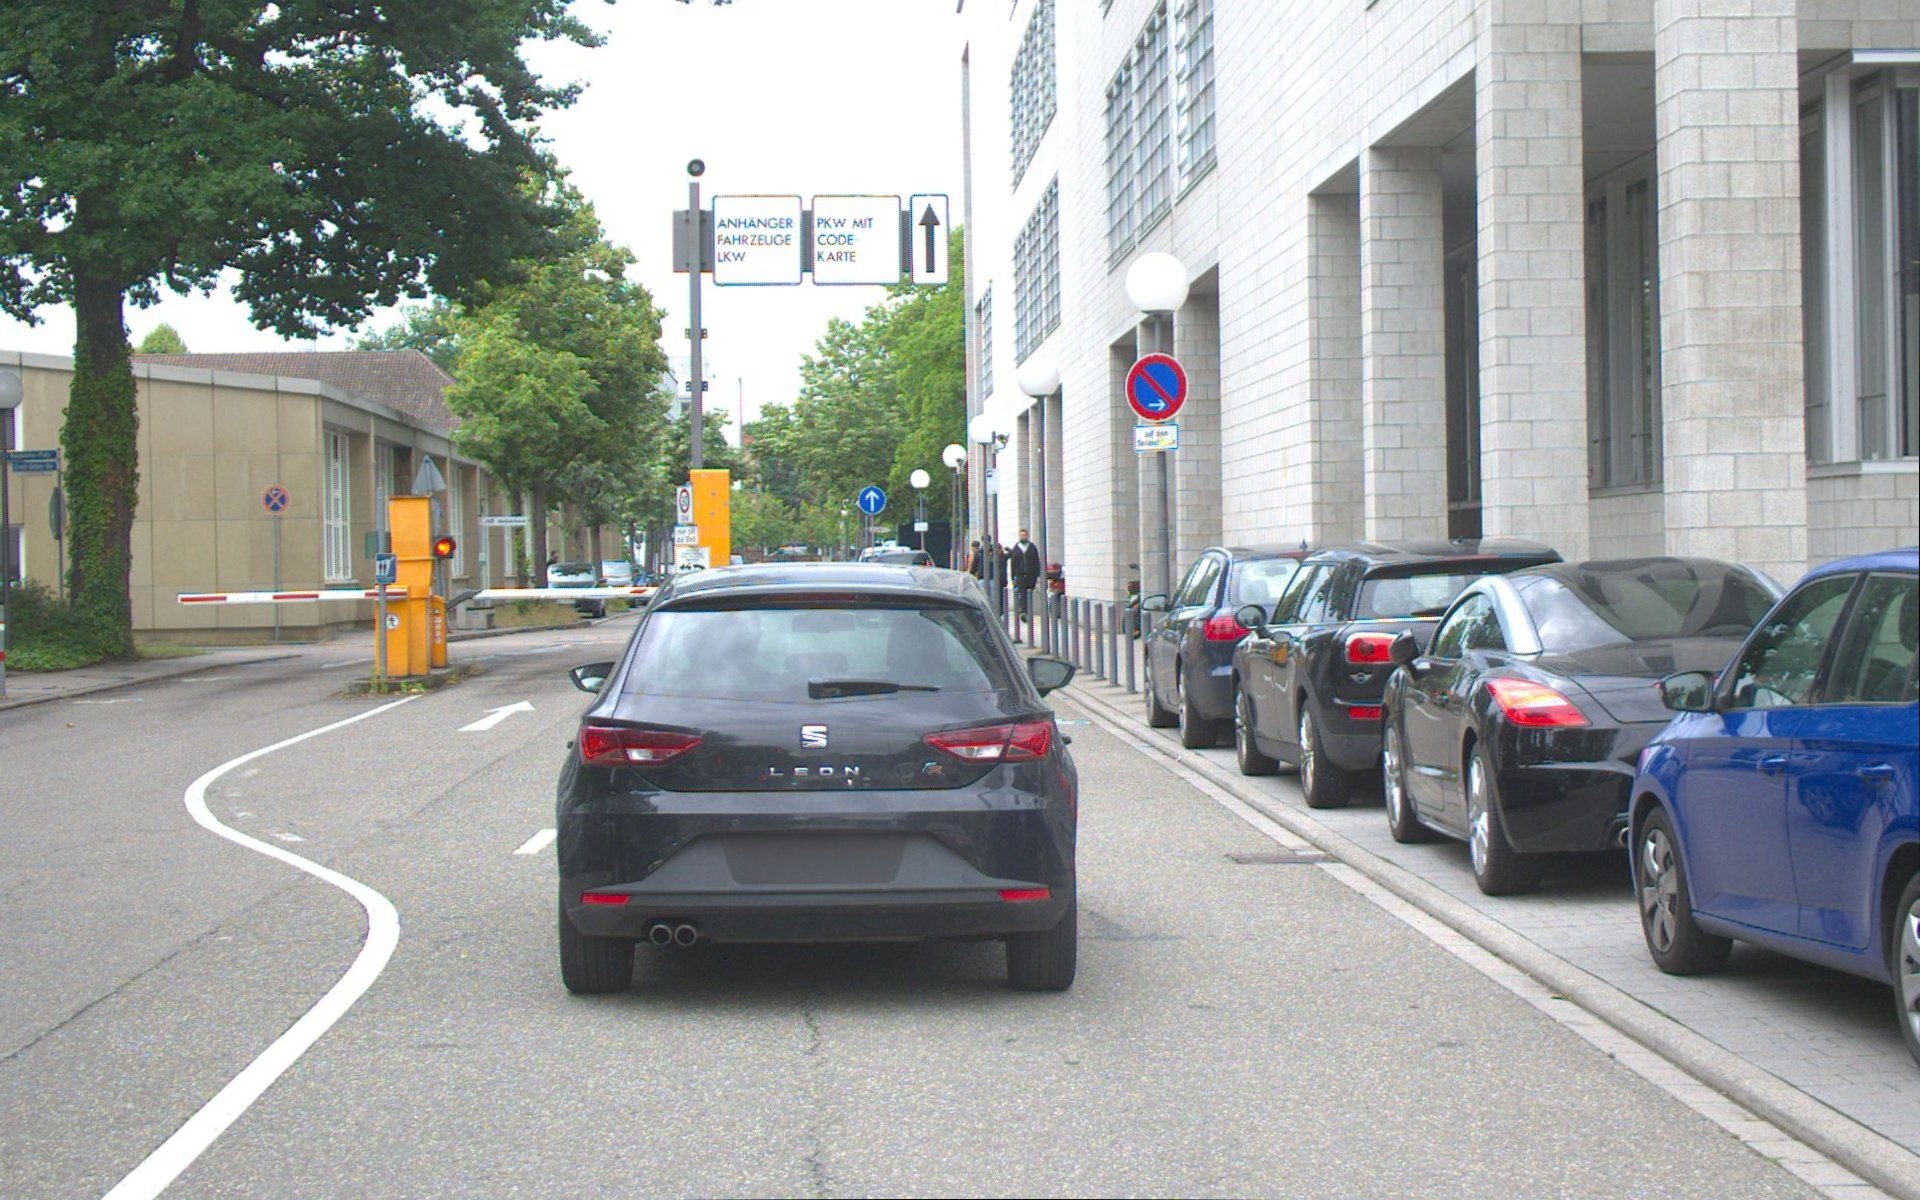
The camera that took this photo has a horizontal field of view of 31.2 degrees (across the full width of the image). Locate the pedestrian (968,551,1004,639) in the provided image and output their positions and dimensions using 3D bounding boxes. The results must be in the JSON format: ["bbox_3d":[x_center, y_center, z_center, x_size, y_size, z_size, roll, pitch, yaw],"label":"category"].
[{"bbox_3d":[0.511,-0.095,67.239,0.690,1.693,0.588,0,3,2],"label":"pedestrian"}]

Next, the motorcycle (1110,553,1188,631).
[{"bbox_3d":[3.063,-0.147,55.577,0.566,1.144,2.215,1,3,22],"label":"motorcycle"}]

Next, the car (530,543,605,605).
[{"bbox_3d":[-10.553,-0.716,92.616,1.770,1.595,4.001,-1,1,-3],"label":"car"}]

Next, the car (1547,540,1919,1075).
[{"bbox_3d":[3.231,0.516,10.548,1.695,1.406,4.377,-2,1,-5],"label":"car"}]

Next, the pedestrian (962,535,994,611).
[{"bbox_3d":[0.402,-0.610,78.201,0.696,1.708,0.489,0,1,2],"label":"pedestrian"}]

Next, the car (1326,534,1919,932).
[{"bbox_3d":[2.887,0.481,15.720,1.848,1.437,4.419,-1,2,-1],"label":"car"}]

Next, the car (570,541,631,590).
[{"bbox_3d":[-12.045,-1.155,115.369,1.770,1.595,4.001,-1,1,-3],"label":"car"}]

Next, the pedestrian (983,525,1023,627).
[{"bbox_3d":[0.737,-0.415,58.897,0.611,1.708,0.574,-2,1,2],"label":"pedestrian"}]

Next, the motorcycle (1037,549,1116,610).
[{"bbox_3d":[2.457,-0.435,72.155,0.760,1.144,2.660,1,3,22],"label":"motorcycle"}]

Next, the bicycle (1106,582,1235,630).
[{"bbox_3d":[3.208,0.086,52.405,1.896,0.696,0.493,0,3,-6],"label":"bicycle"}]

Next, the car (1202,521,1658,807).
[{"bbox_3d":[2.671,0.302,20.604,1.817,1.438,4.521,-3,1,-3],"label":"car"}]

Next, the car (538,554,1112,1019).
[{"bbox_3d":[-0.519,0.555,12.839,1.782,1.414,4.130,-1,1,-3],"label":"car"}]

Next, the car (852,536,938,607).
[{"bbox_3d":[-1.644,-0.718,85.427,1.993,1.617,4.428,-3,1,-2],"label":"car"}]

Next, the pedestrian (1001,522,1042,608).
[{"bbox_3d":[1.222,-0.707,68.605,0.727,1.693,0.588,0,3,-7],"label":"pedestrian"}]

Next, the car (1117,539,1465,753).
[{"bbox_3d":[2.422,0.296,26.437,1.993,1.447,4.923,-1,1,-2],"label":"car"}]

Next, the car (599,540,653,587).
[{"bbox_3d":[-11.721,-1.294,120.885,1.770,1.595,4.001,-1,1,-4],"label":"car"}]

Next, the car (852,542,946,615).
[{"bbox_3d":[-1.459,-0.504,80.903,1.993,1.617,4.428,-2,0,-3],"label":"car"}]
